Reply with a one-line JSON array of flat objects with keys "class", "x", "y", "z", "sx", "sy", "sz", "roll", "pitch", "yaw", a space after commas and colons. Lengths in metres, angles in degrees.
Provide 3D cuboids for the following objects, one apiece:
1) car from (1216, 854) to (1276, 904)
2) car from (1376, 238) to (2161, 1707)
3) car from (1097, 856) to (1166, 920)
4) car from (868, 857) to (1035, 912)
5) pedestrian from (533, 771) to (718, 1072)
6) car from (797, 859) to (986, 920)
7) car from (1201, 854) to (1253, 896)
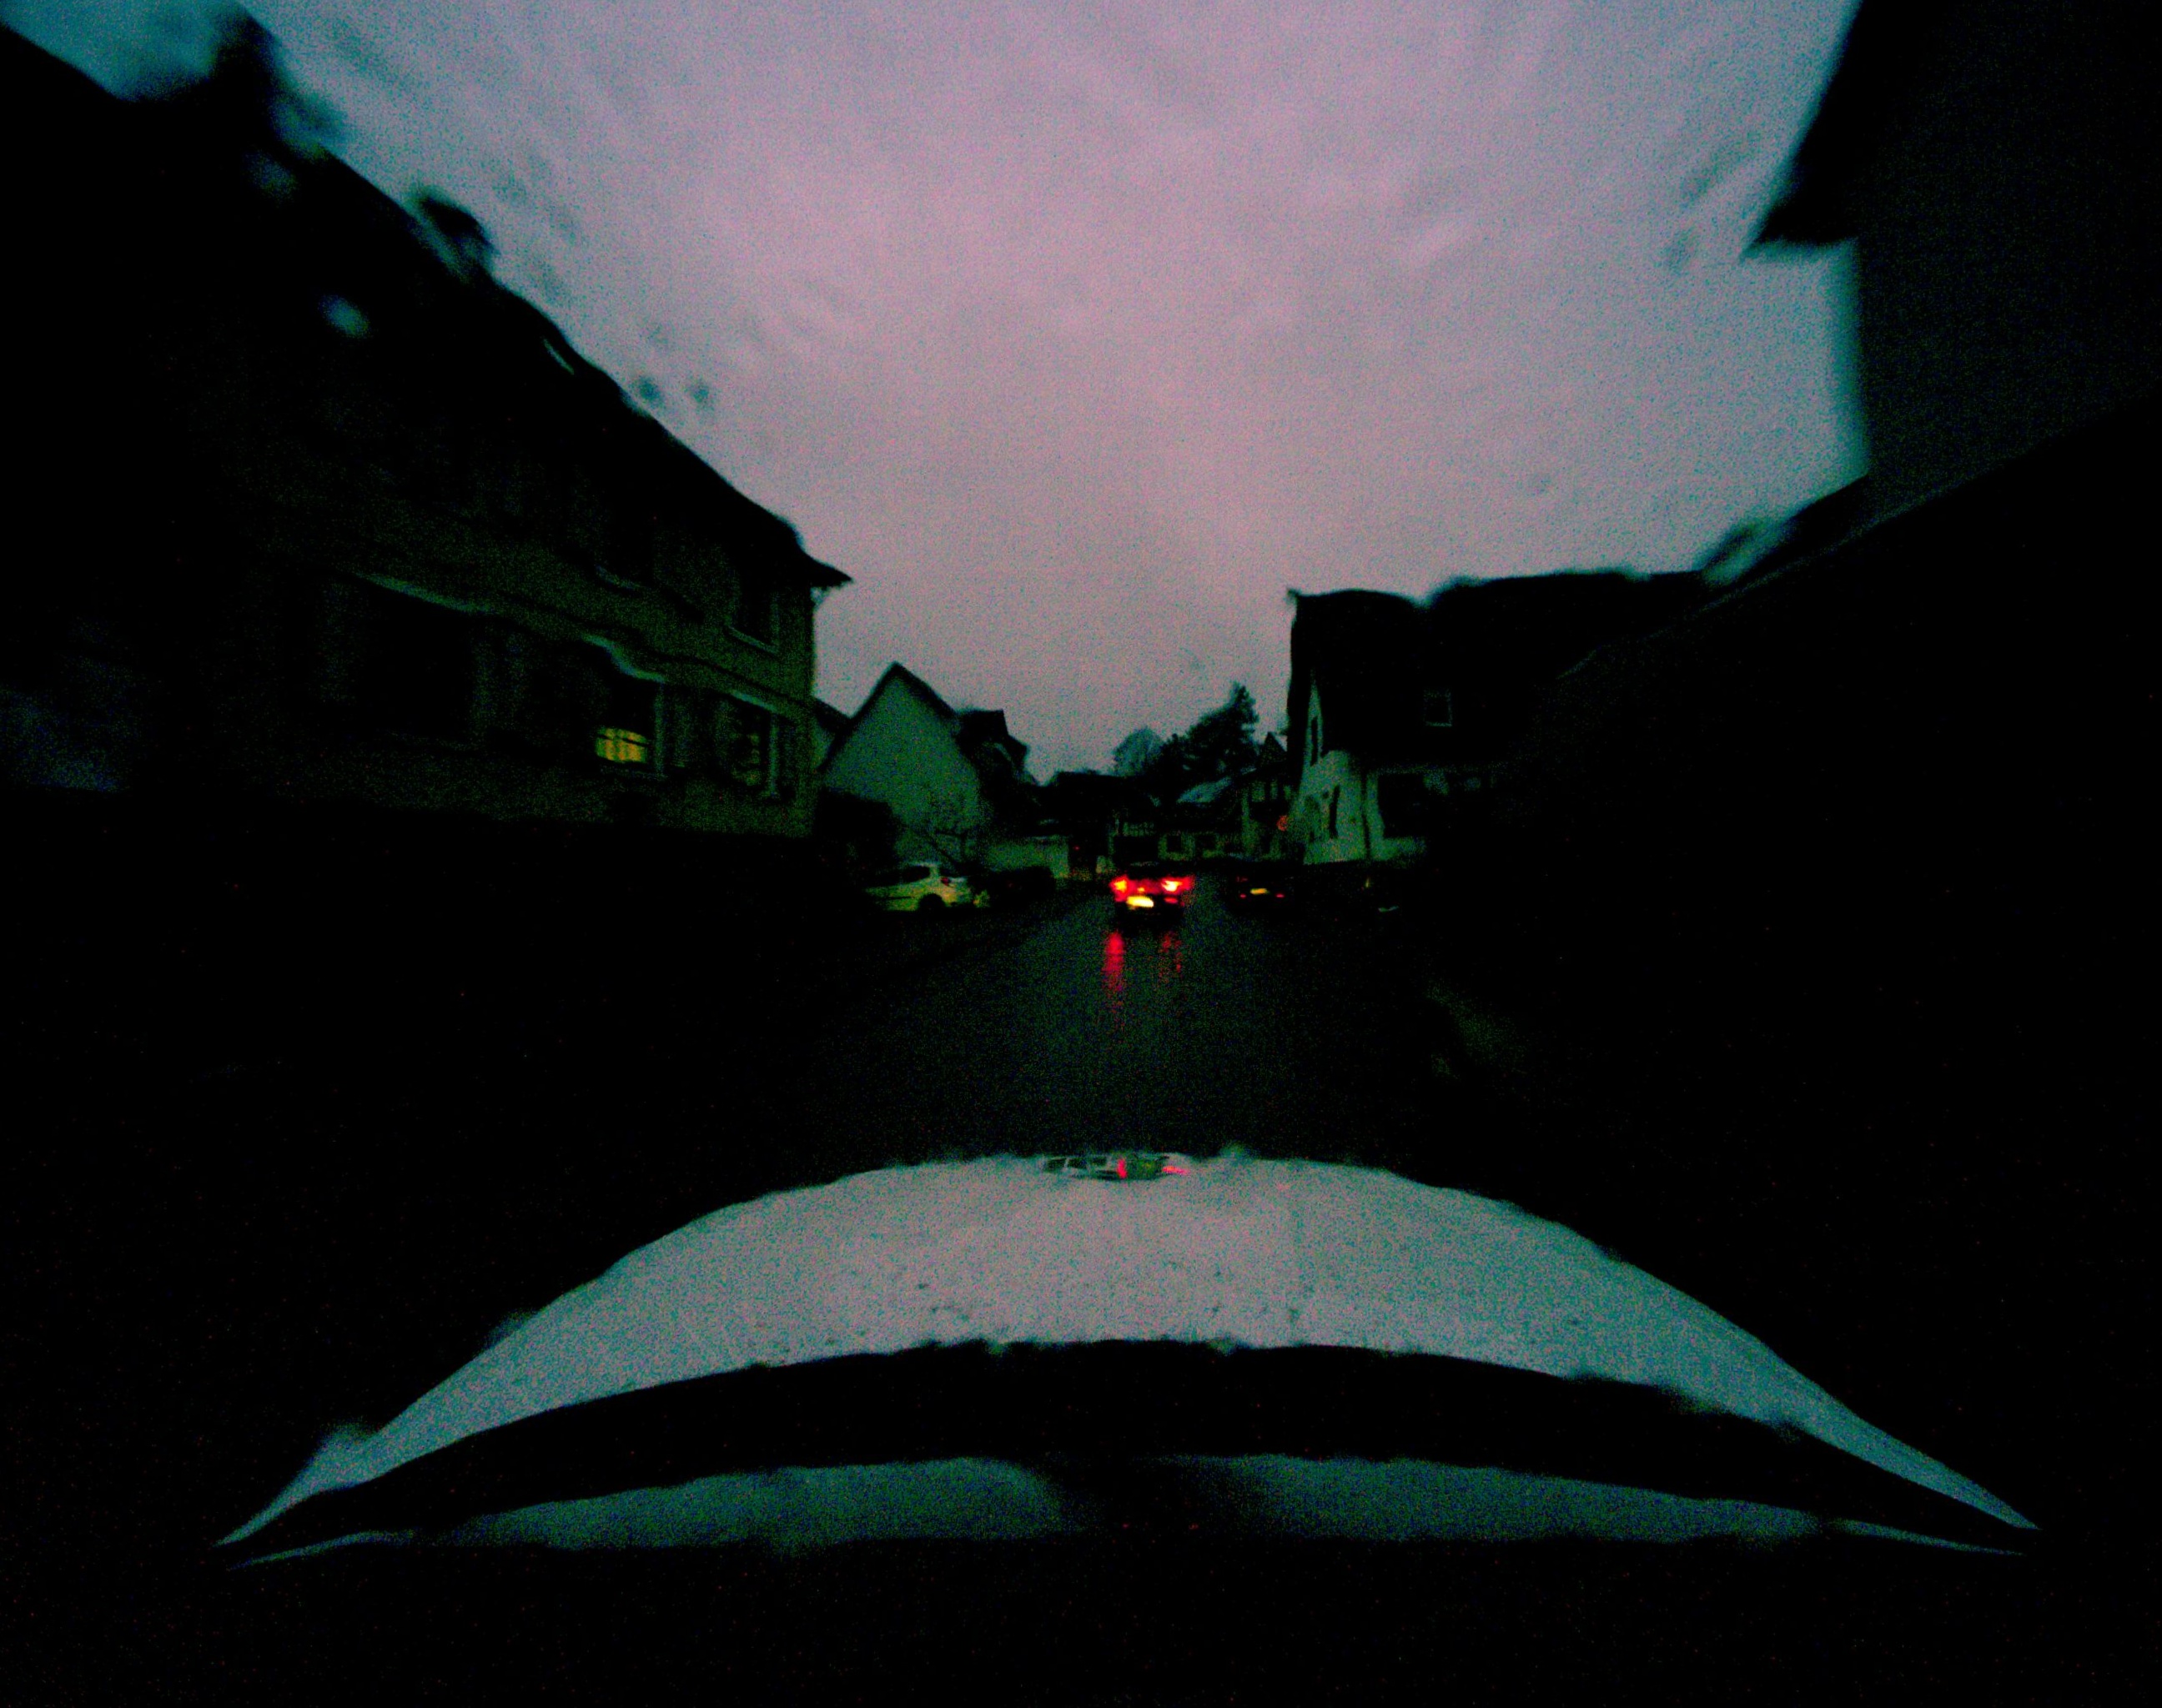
[{"class": "car", "x": 5.238, "y": 0.752, "z": 26.220, "sx": 1.629, "sy": 1.471, "sz": 4.008, "roll": 0, "pitch": 0, "yaw": 7}, {"class": "car", "x": 2.821, "y": 0.284, "z": 2.873, "sx": 1.999, "sy": 2.454, "sz": 5.623, "roll": 0, "pitch": 0, "yaw": 5}, {"class": "car", "x": 1.362, "y": 0.790, "z": 20.816, "sx": 1.538, "sy": 1.466, "sz": 3.705, "roll": -1, "pitch": 0, "yaw": 6}, {"class": "car", "x": -3.872, "y": 0.912, "z": 24.819, "sx": 4.567, "sy": 1.470, "sz": 2.005, "roll": -2, "pitch": -1, "yaw": 8}, {"class": "pedestrian", "x": -3.270, "y": 0.455, "z": 5.926, "sx": 0.779, "sy": 2.014, "sz": 0.871, "roll": 0, "pitch": -1, "yaw": 7}, {"class": "car", "x": -5.106, "y": 0.949, "z": 22.164, "sx": 4.572, "sy": 1.470, "sz": 1.898, "roll": -2, "pitch": -1, "yaw": 12}, {"class": "car", "x": 5.495, "y": 0.757, "z": 30.971, "sx": 1.630, "sy": 1.494, "sz": 4.006, "roll": 0, "pitch": 0, "yaw": 5}]
